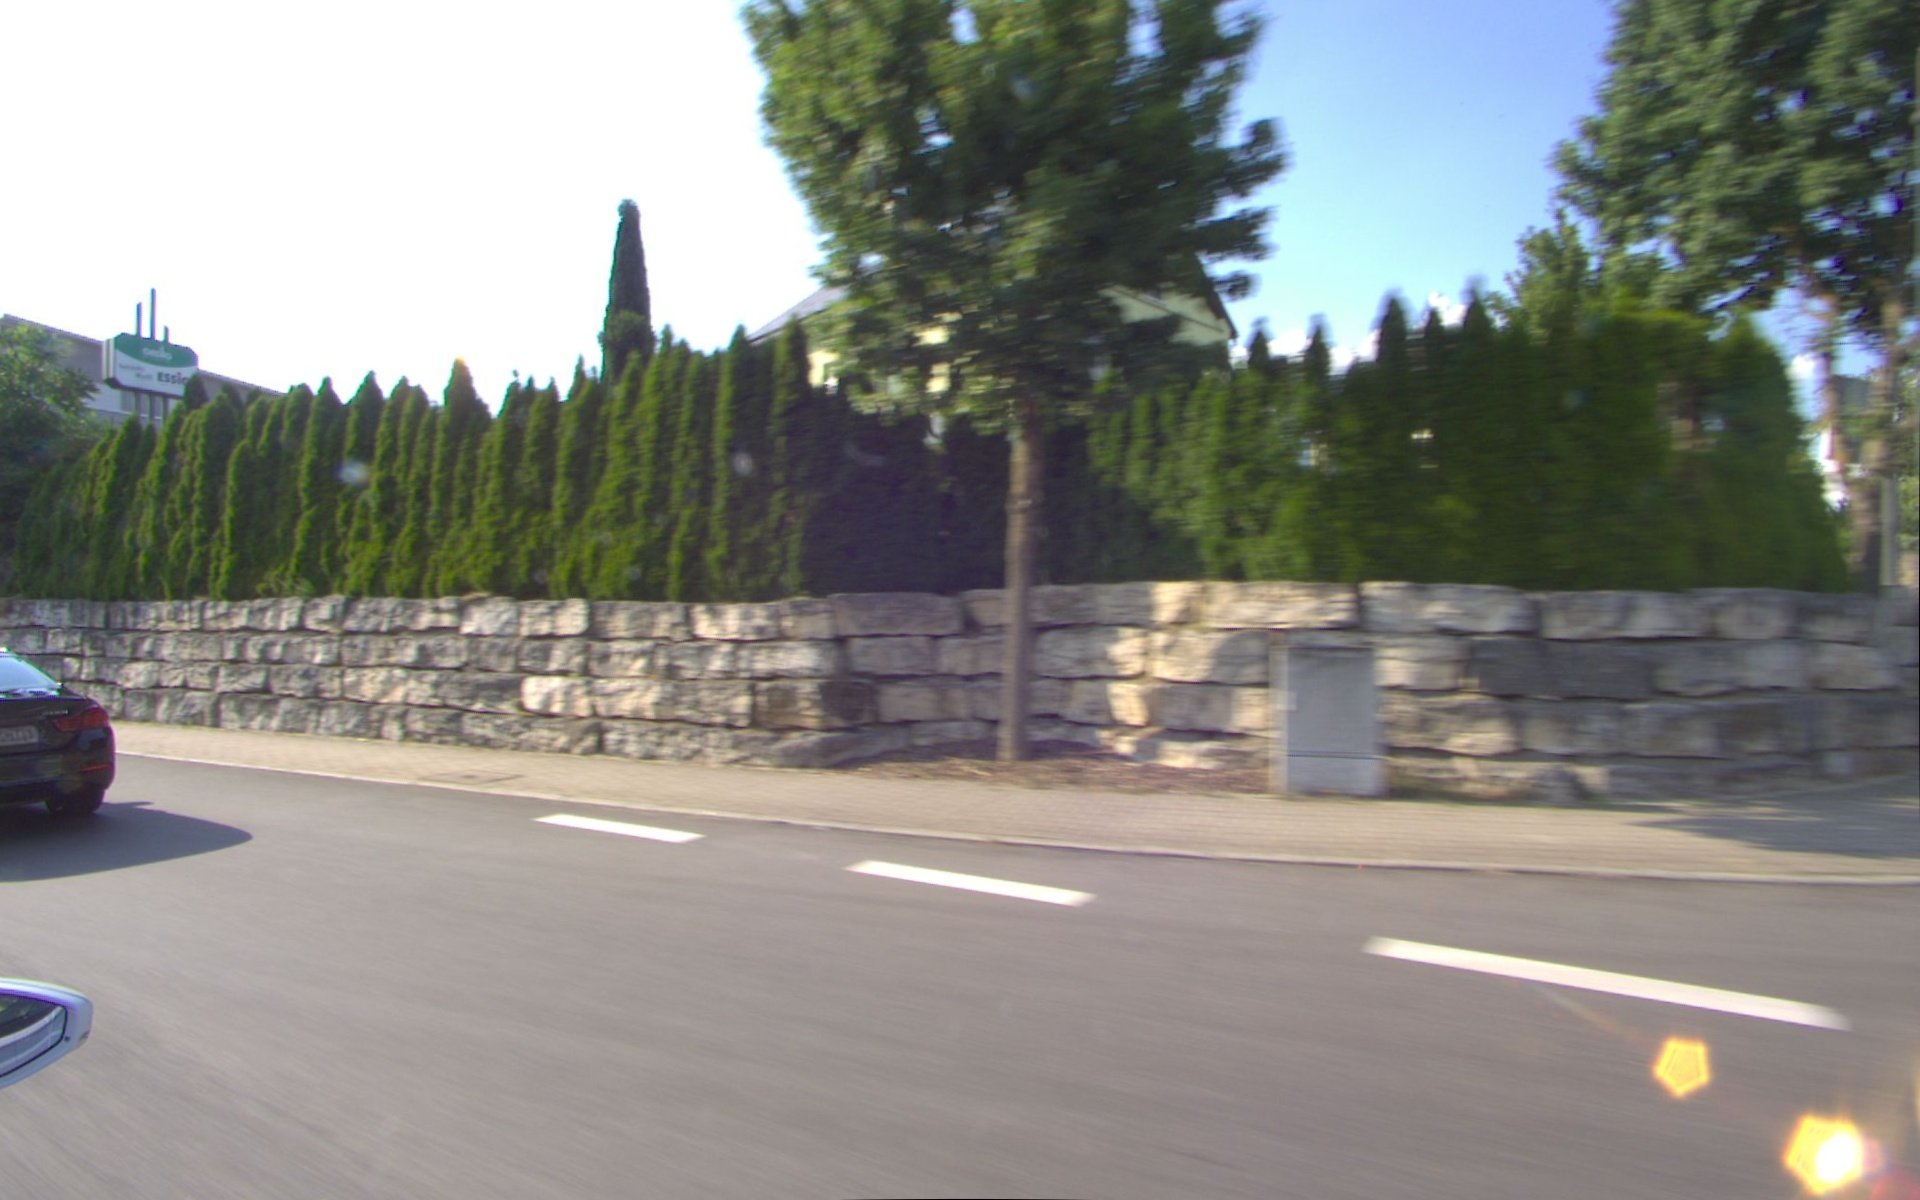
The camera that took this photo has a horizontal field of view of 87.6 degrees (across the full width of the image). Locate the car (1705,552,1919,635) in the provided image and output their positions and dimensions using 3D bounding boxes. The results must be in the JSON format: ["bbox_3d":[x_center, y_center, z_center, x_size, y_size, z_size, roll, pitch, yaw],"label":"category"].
[{"bbox_3d":[19.315,-0.091,22.275,1.972,1.664,3.977,1,-1,-31],"label":"car"}]

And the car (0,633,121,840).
[{"bbox_3d":[-8.530,0.975,7.852,4.199,1.387,1.697,0,0,31],"label":"car"}]
